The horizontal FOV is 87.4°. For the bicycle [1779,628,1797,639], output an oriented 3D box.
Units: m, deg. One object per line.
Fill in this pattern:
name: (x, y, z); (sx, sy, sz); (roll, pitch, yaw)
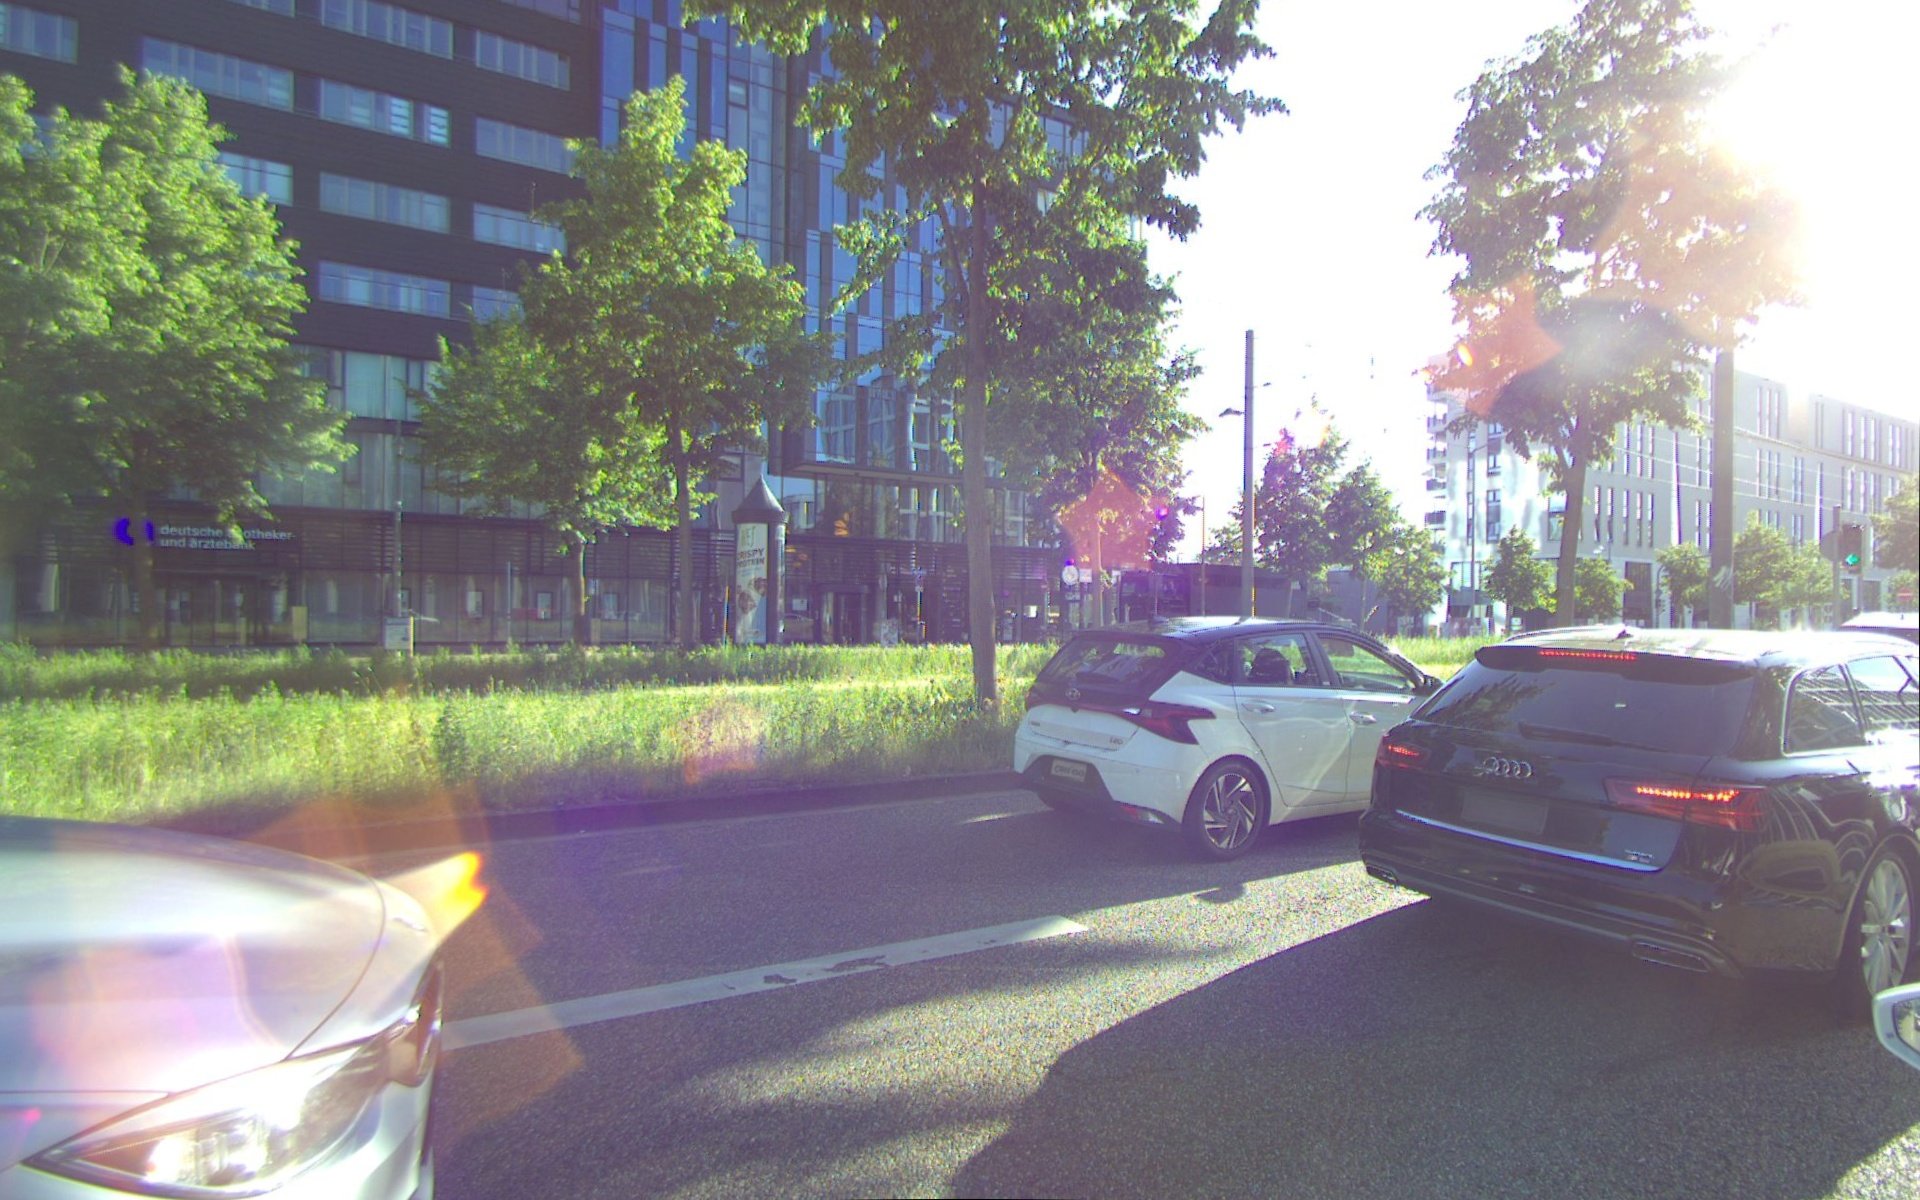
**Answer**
bicycle: (73.493, 2.967, 89.147); (1.933, 1.001, 0.673); (1, -1, -31)

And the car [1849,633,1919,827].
car: (9.306, 1.024, 8.203); (4.288, 1.445, 1.833); (1, -1, -30)

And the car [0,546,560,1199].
car: (-2.957, 0.663, 1.027); (4.509, 1.504, 1.810); (1, -1, -31)

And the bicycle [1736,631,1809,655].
bicycle: (43.561, 2.289, 53.906); (0.809, 1.206, 2.923); (1, -1, -35)

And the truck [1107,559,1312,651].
truck: (11.704, 0.304, 46.498); (10.094, 3.904, 2.877); (1, -1, -31)

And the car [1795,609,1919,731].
car: (13.929, 0.920, 14.343); (4.519, 1.467, 1.788); (0, 2, -33)

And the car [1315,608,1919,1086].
car: (4.263, 0.835, 5.272); (4.911, 1.504, 1.864); (1, -1, -32)

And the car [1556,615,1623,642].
car: (37.538, 1.692, 59.907); (3.953, 1.540, 1.756); (1, -1, -30)

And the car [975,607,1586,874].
car: (2.495, 0.819, 7.454); (4.515, 1.467, 1.790); (1, -1, -31)

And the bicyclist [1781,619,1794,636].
bicyclist: (73.382, 2.435, 89.073); (0.706, 1.549, 0.674); (1, 0, -30)

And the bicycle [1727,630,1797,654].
bicycle: (44.398, 2.322, 55.665); (0.809, 1.206, 2.925); (1, -1, -32)

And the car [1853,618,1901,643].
car: (78.102, 2.603, 85.532); (3.953, 2.040, 1.984); (1, -1, -30)

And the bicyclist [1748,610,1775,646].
bicyclist: (44.424, 1.551, 55.677); (0.809, 1.973, 0.993); (1, -1, -33)

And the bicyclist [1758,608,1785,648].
bicyclist: (43.577, 1.520, 53.923); (0.810, 2.120, 0.933); (1, -1, -35)

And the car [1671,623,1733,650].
car: (51.476, 2.520, 69.683); (4.319, 1.838, 1.984); (1, -1, -30)
